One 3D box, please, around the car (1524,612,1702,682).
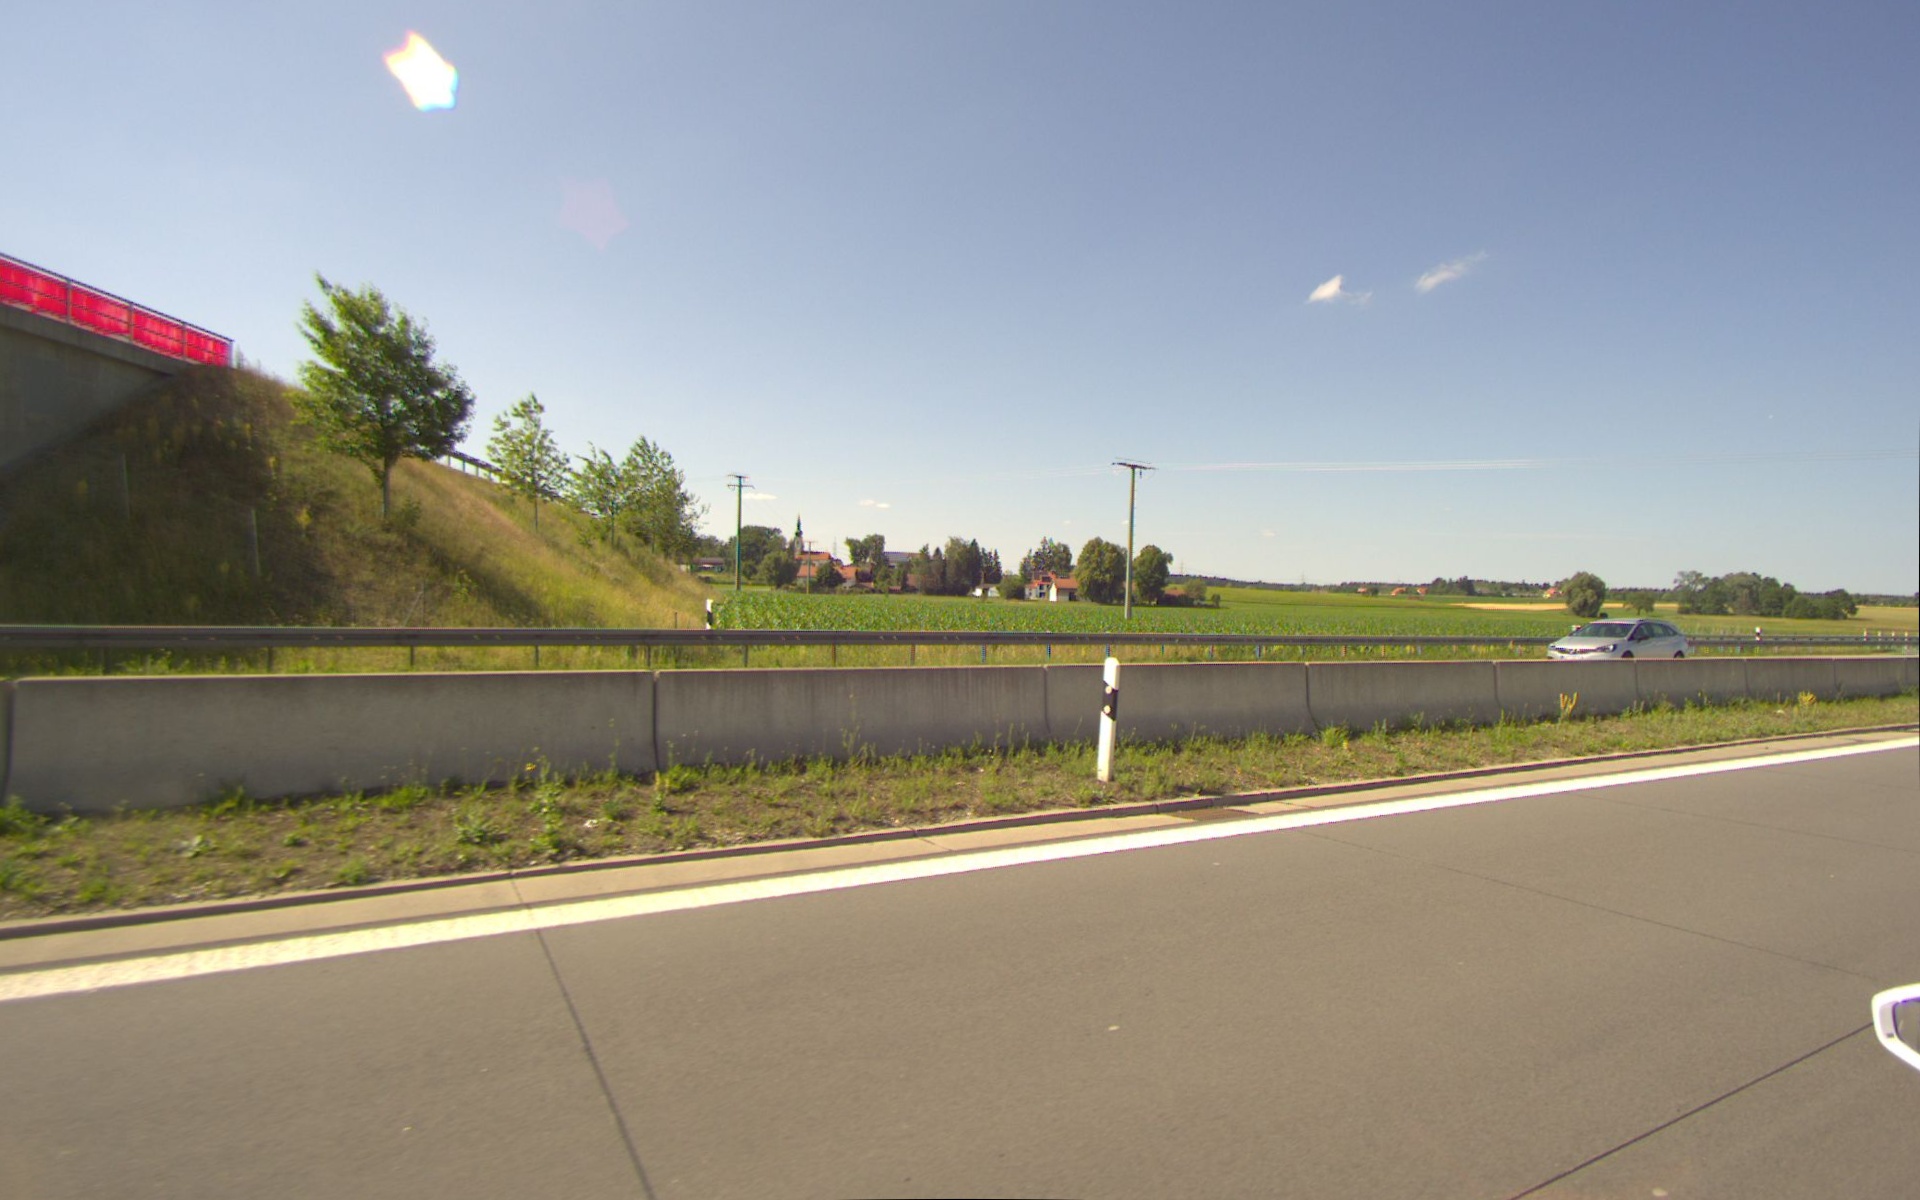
[{"bbox_3d":[17.279,1.222,26.522,4.840,1.600,1.983,2,1,-31],"label":"car"}]
